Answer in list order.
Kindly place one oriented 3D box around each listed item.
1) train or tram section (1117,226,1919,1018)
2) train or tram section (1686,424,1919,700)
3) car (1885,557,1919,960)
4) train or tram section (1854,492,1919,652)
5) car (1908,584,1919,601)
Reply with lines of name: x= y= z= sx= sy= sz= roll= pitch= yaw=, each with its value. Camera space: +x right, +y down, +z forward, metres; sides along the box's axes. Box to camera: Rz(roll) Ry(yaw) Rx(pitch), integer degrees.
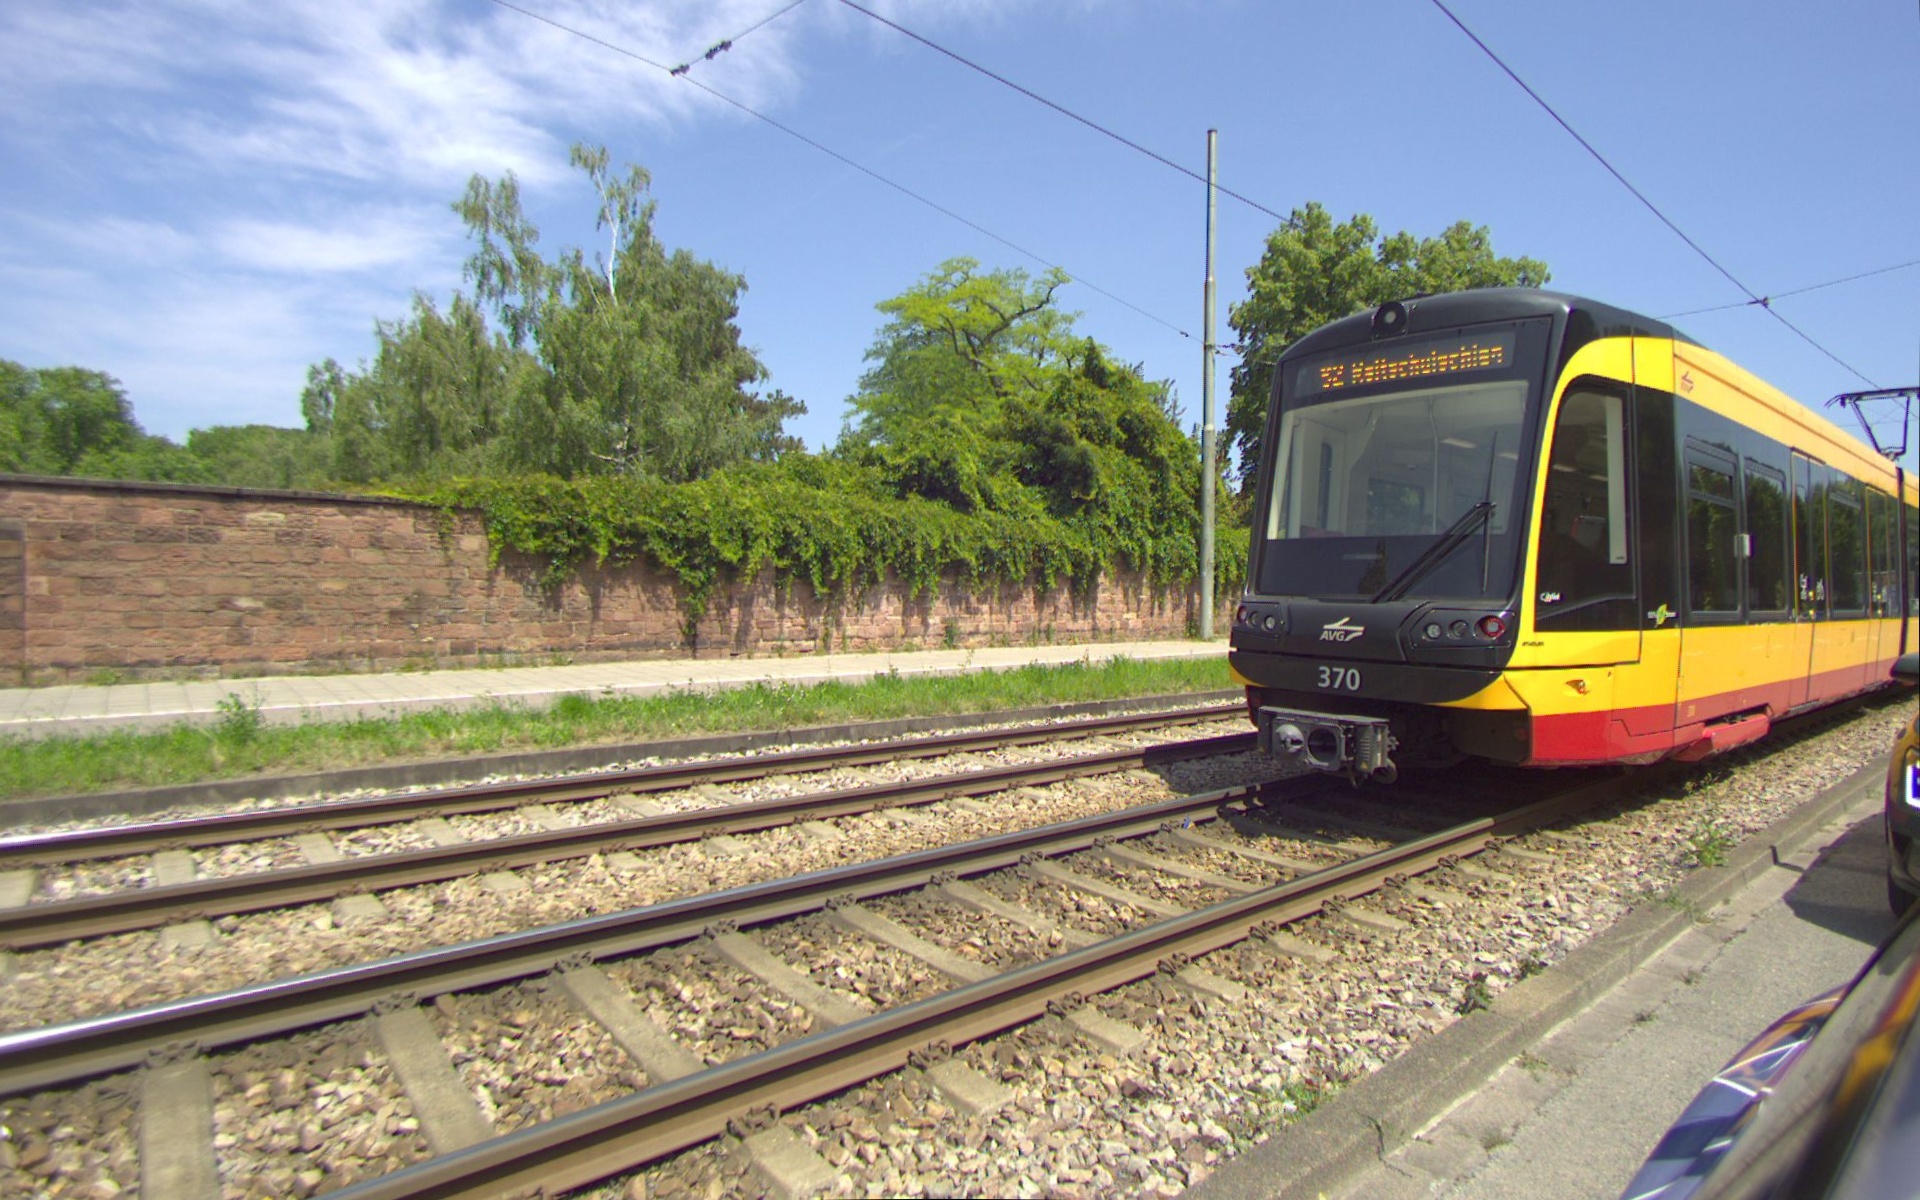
train or tram section: x=7.300 y=0.028 z=10.606 sx=14.013 sy=3.855 sz=2.811 roll=-1 pitch=0 yaw=-41
train or tram section: x=17.888 y=-0.606 z=19.690 sx=14.010 sy=3.859 sz=2.782 roll=-1 pitch=0 yaw=-40
car: x=5.968 y=0.633 z=4.865 sx=4.349 sy=1.603 sz=1.757 roll=0 pitch=0 yaw=-41
train or tram section: x=28.588 y=-0.747 z=28.749 sx=14.010 sy=3.855 sz=2.782 roll=-1 pitch=0 yaw=-40
car: x=88.126 y=-0.681 z=92.547 sx=3.412 sy=1.514 sz=1.863 roll=0 pitch=2 yaw=-43
